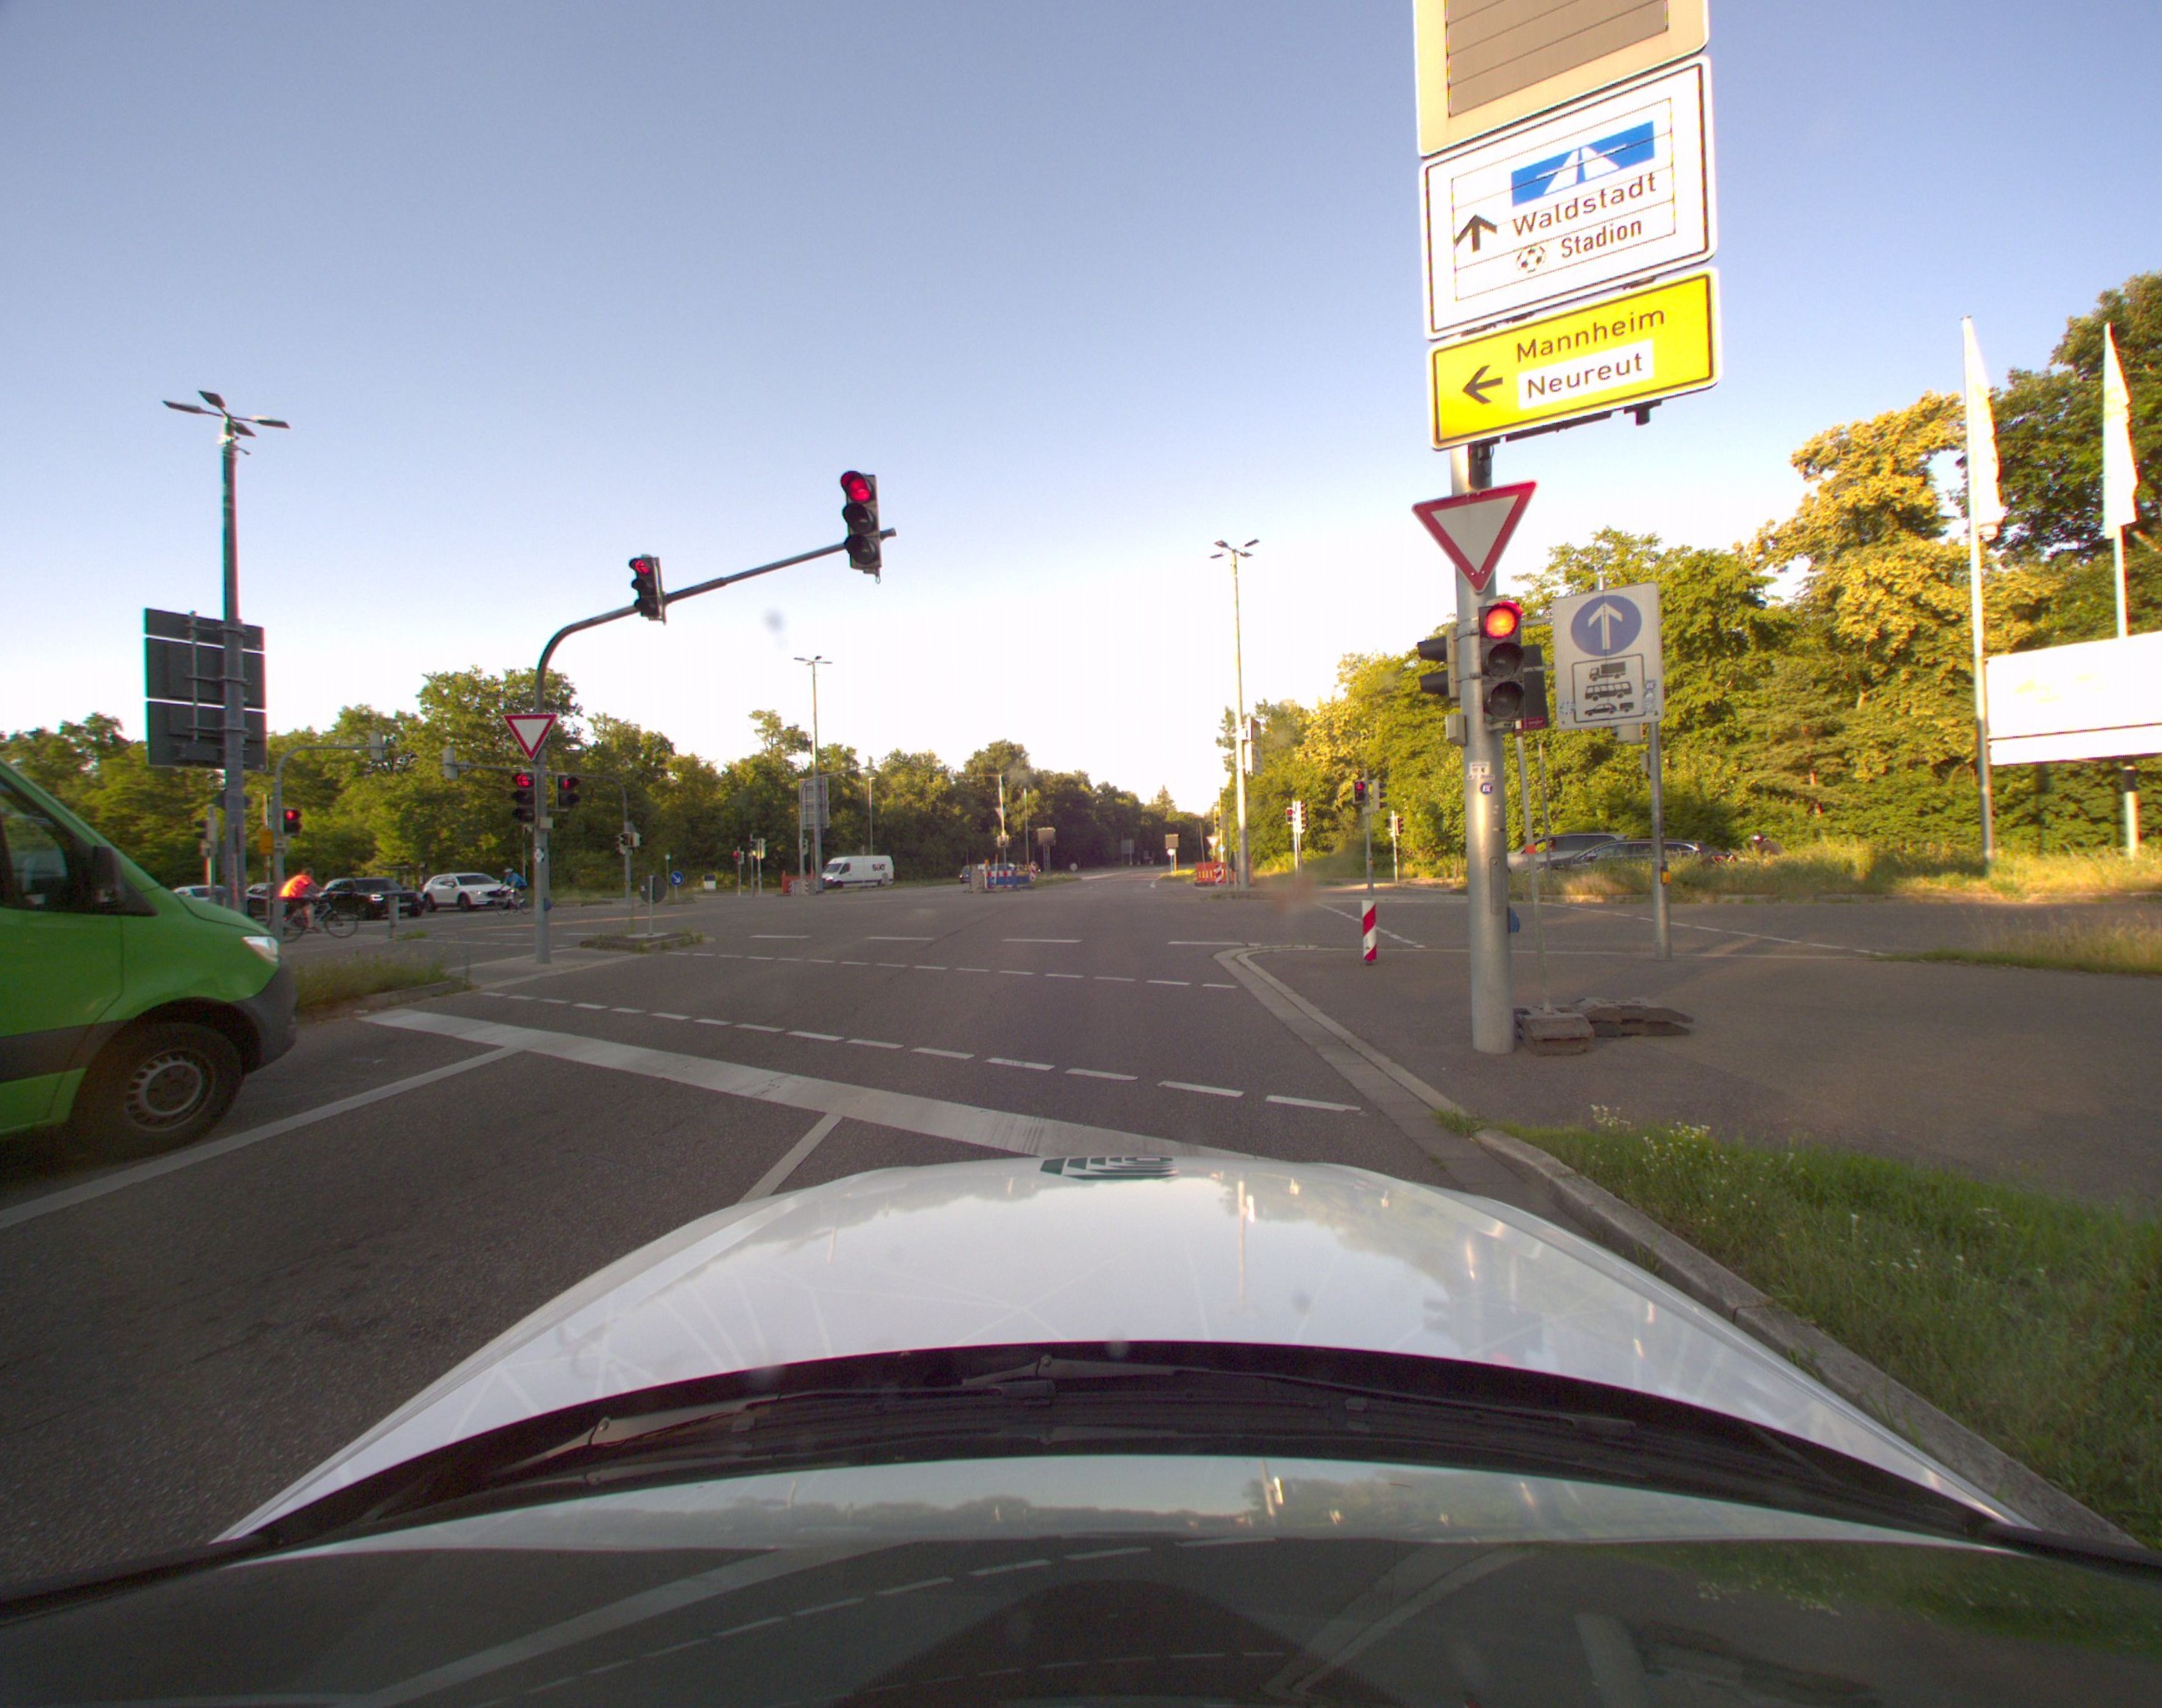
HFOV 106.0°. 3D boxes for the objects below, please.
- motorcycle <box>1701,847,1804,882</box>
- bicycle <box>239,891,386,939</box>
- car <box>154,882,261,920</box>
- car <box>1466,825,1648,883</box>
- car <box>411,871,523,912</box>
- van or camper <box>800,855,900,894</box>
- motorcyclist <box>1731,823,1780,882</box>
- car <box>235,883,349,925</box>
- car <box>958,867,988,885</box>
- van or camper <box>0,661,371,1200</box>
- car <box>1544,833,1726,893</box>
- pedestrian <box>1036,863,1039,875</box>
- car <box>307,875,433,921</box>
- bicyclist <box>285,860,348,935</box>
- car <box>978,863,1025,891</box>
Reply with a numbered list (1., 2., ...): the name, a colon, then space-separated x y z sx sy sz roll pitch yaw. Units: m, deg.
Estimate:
1. motorcycle: 18.941 0.305 23.012 2.125 0.910 0.666 -2 -1 23
2. bicycle: -19.912 1.545 21.192 0.759 1.031 2.664 -2 0 26
3. car: -41.258 2.209 38.473 4.207 1.640 2.011 -2 0 21
4. car: 15.028 0.024 26.073 4.773 1.598 2.011 -2 0 23
5. car: -26.761 1.640 35.497 4.206 1.640 2.011 -2 0 23
6. van or camper: -17.264 1.496 61.379 2.857 2.652 7.166 -2 0 30
7. motorcyclist: 19.008 -0.041 22.974 0.878 1.595 0.658 -2 -1 23
8. car: -33.926 2.152 35.032 4.205 1.640 2.011 -2 0 23
9. car: -10.972 2.252 83.202 1.982 1.640 4.009 -2 0 8
10. van or camper: -5.861 0.362 2.557 1.987 2.421 5.896 -2 0 1
11. car: 14.906 0.252 22.182 3.827 1.489 1.781 -2 0 24
12. pedestrian: -7.063 2.408 131.748 0.519 2.014 0.600 0 -1 2
13. car: -27.555 1.697 31.557 4.206 1.640 2.011 -2 0 23
14. bicyclist: -19.934 1.117 21.241 0.668 1.879 0.985 -2 -1 24
15. car: -5.550 1.588 57.228 1.979 1.640 4.016 -3 0 14
